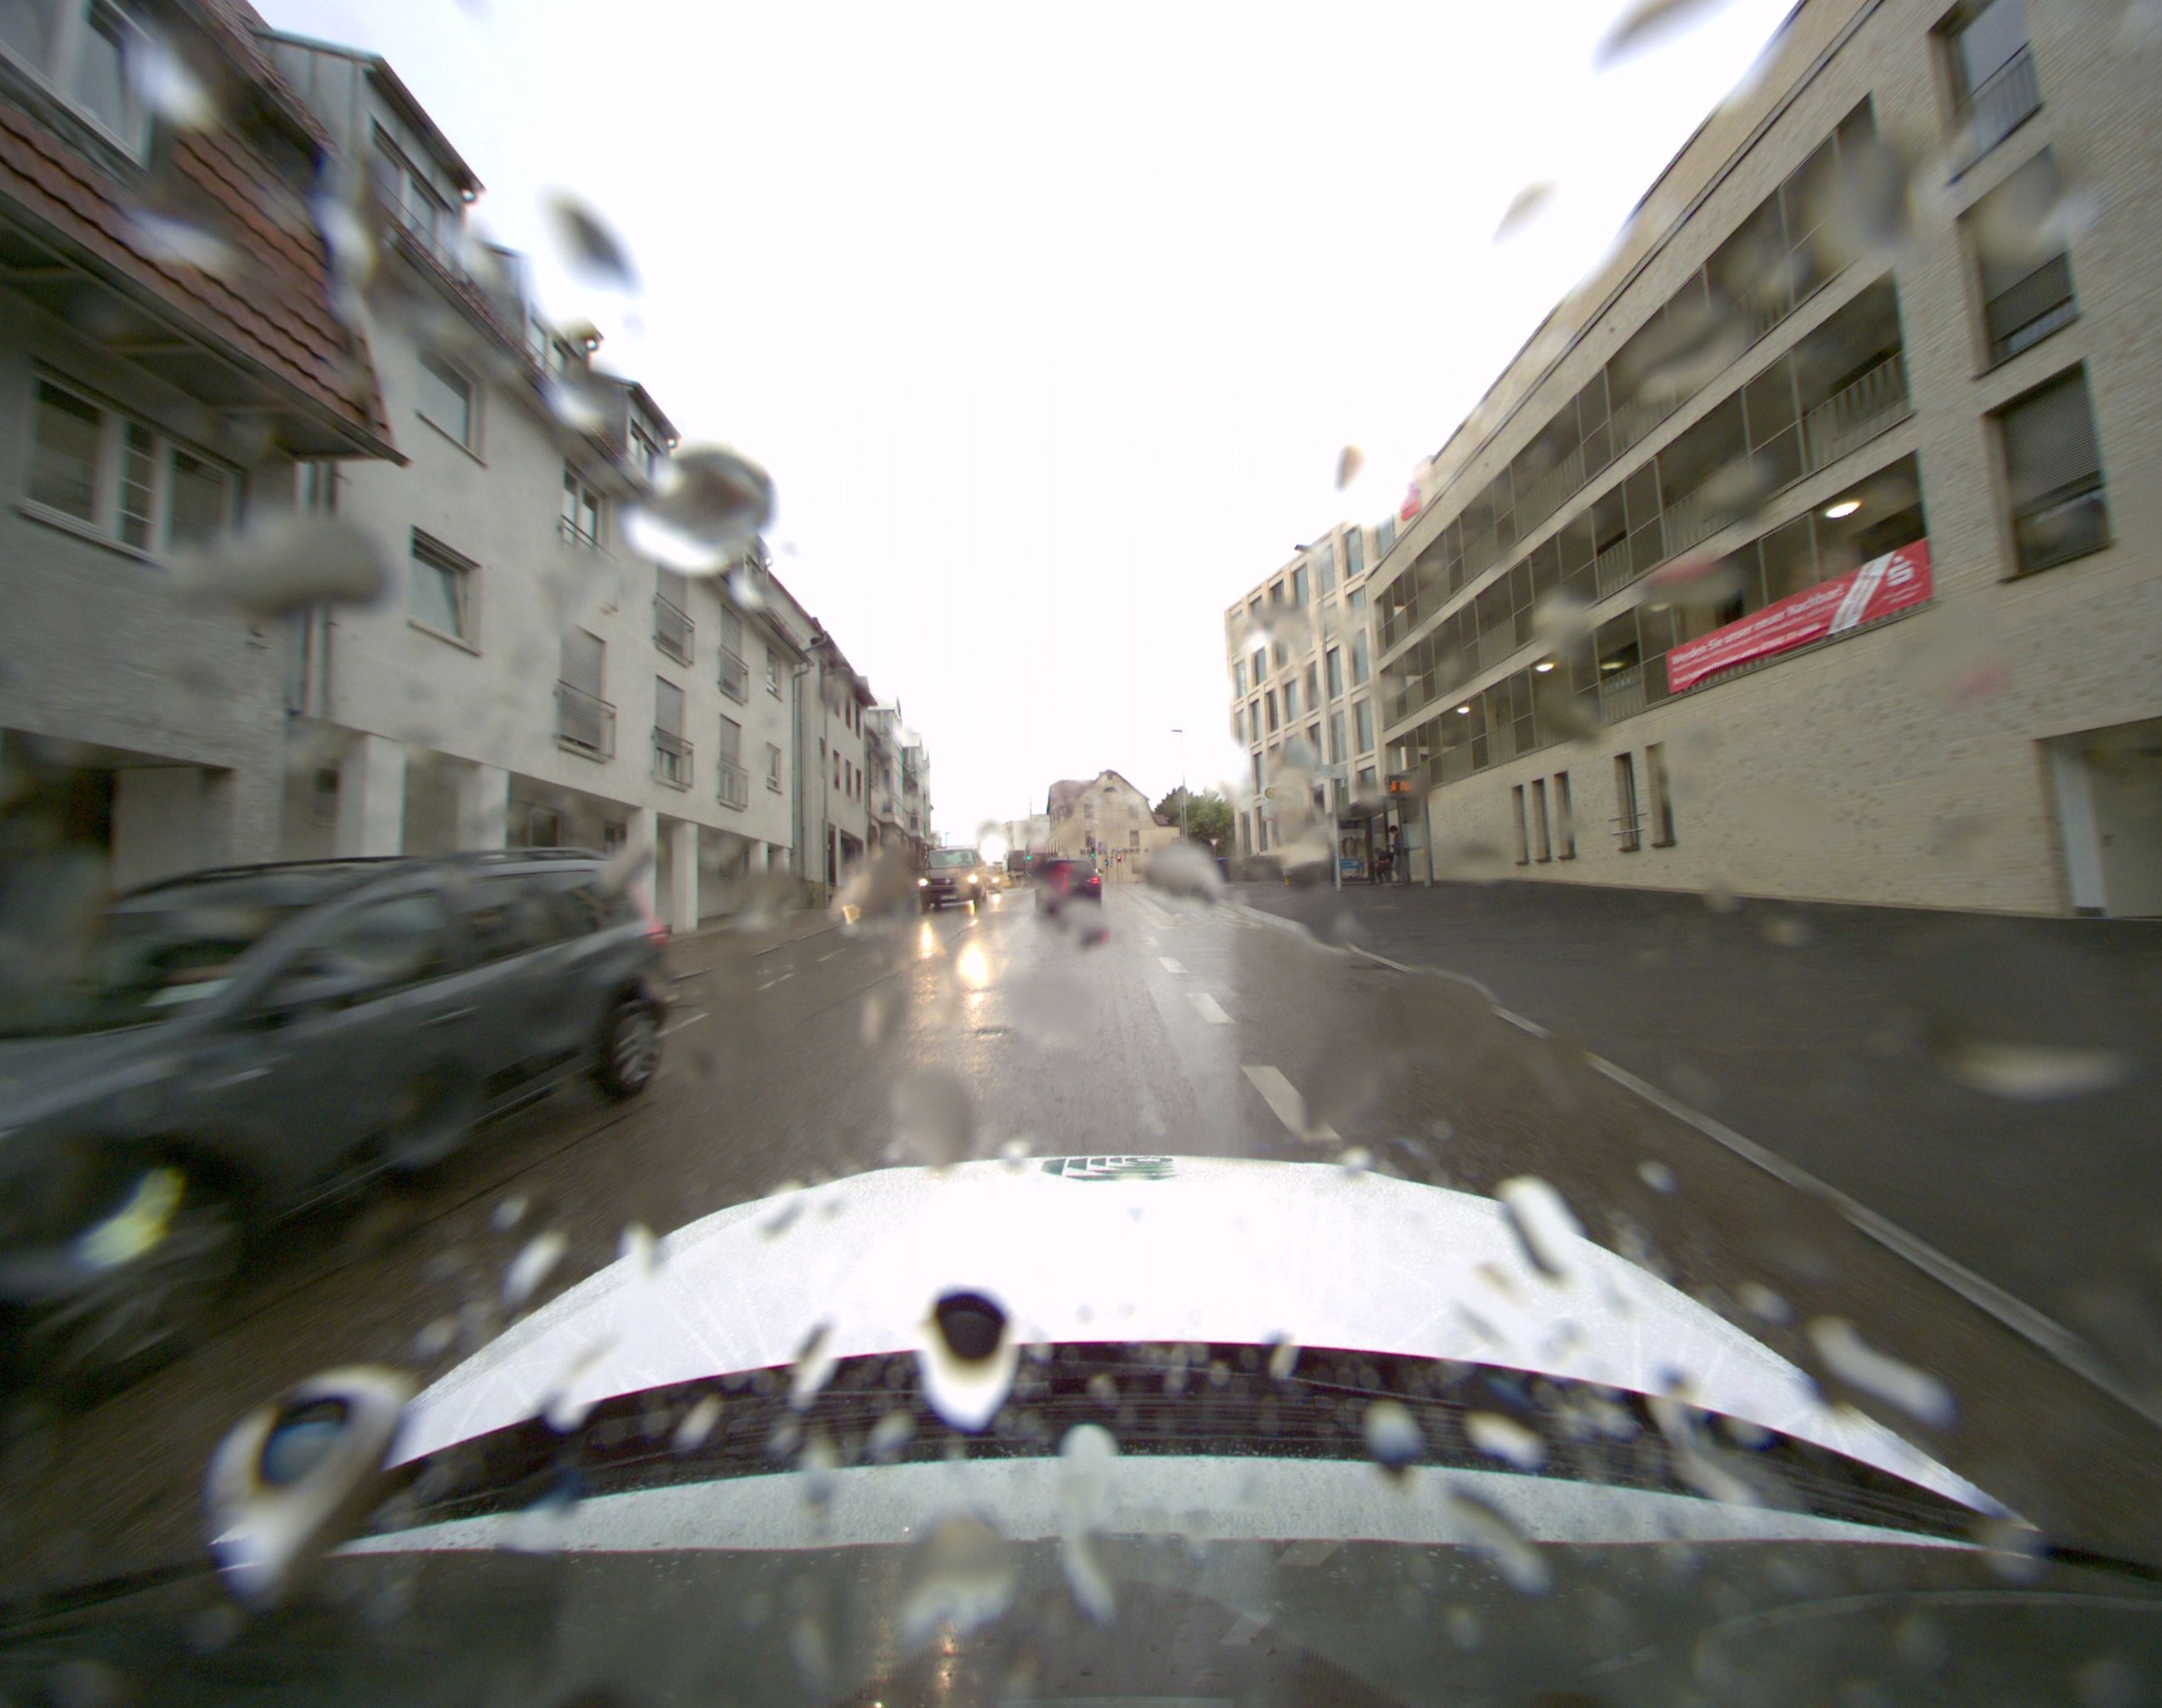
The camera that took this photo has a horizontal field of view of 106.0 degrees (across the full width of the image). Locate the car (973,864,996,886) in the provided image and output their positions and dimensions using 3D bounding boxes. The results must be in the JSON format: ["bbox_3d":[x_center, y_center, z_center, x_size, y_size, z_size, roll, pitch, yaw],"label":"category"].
[{"bbox_3d":[-7.217,1.541,61.111,1.557,1.536,3.441,-3,0,-6],"label":"car"}]

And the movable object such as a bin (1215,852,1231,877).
[{"bbox_3d":[6.421,0.477,36.760,0.593,1.062,0.579,-2,-1,0],"label":"movable object such as a bin"}]

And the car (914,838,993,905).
[{"bbox_3d":[-4.144,0.550,27.269,1.927,1.907,5.038,-3,0,-2],"label":"car"}]

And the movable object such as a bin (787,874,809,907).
[{"bbox_3d":[-8.937,1.161,25.733,0.507,1.006,0.584,-1,0,-3],"label":"movable object such as a bin"}]

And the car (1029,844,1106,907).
[{"bbox_3d":[-0.394,0.558,23.181,1.939,1.567,4.414,-2,0,-1],"label":"car"}]

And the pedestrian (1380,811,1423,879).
[{"bbox_3d":[9.535,-0.253,24.285,0.779,1.940,1.021,-4,-1,1],"label":"pedestrian"}]

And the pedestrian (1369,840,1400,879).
[{"bbox_3d":[9.524,0.180,25.586,0.669,1.162,0.635,-4,-1,1],"label":"pedestrian"}]

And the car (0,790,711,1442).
[{"bbox_3d":[-3.751,0.718,4.063,1.777,1.694,4.457,-2,0,-1],"label":"car"}]

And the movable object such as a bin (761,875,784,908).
[{"bbox_3d":[-9.702,1.169,25.635,0.507,1.006,0.584,-1,0,-3],"label":"movable object such as a bin"}]

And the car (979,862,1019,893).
[{"bbox_3d":[-4.118,1.149,41.362,1.683,1.444,3.907,-2,0,-1],"label":"car"}]

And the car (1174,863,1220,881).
[{"bbox_3d":[12.067,1.869,84.507,4.310,1.505,1.769,-3,-6,-15],"label":"car"}]
